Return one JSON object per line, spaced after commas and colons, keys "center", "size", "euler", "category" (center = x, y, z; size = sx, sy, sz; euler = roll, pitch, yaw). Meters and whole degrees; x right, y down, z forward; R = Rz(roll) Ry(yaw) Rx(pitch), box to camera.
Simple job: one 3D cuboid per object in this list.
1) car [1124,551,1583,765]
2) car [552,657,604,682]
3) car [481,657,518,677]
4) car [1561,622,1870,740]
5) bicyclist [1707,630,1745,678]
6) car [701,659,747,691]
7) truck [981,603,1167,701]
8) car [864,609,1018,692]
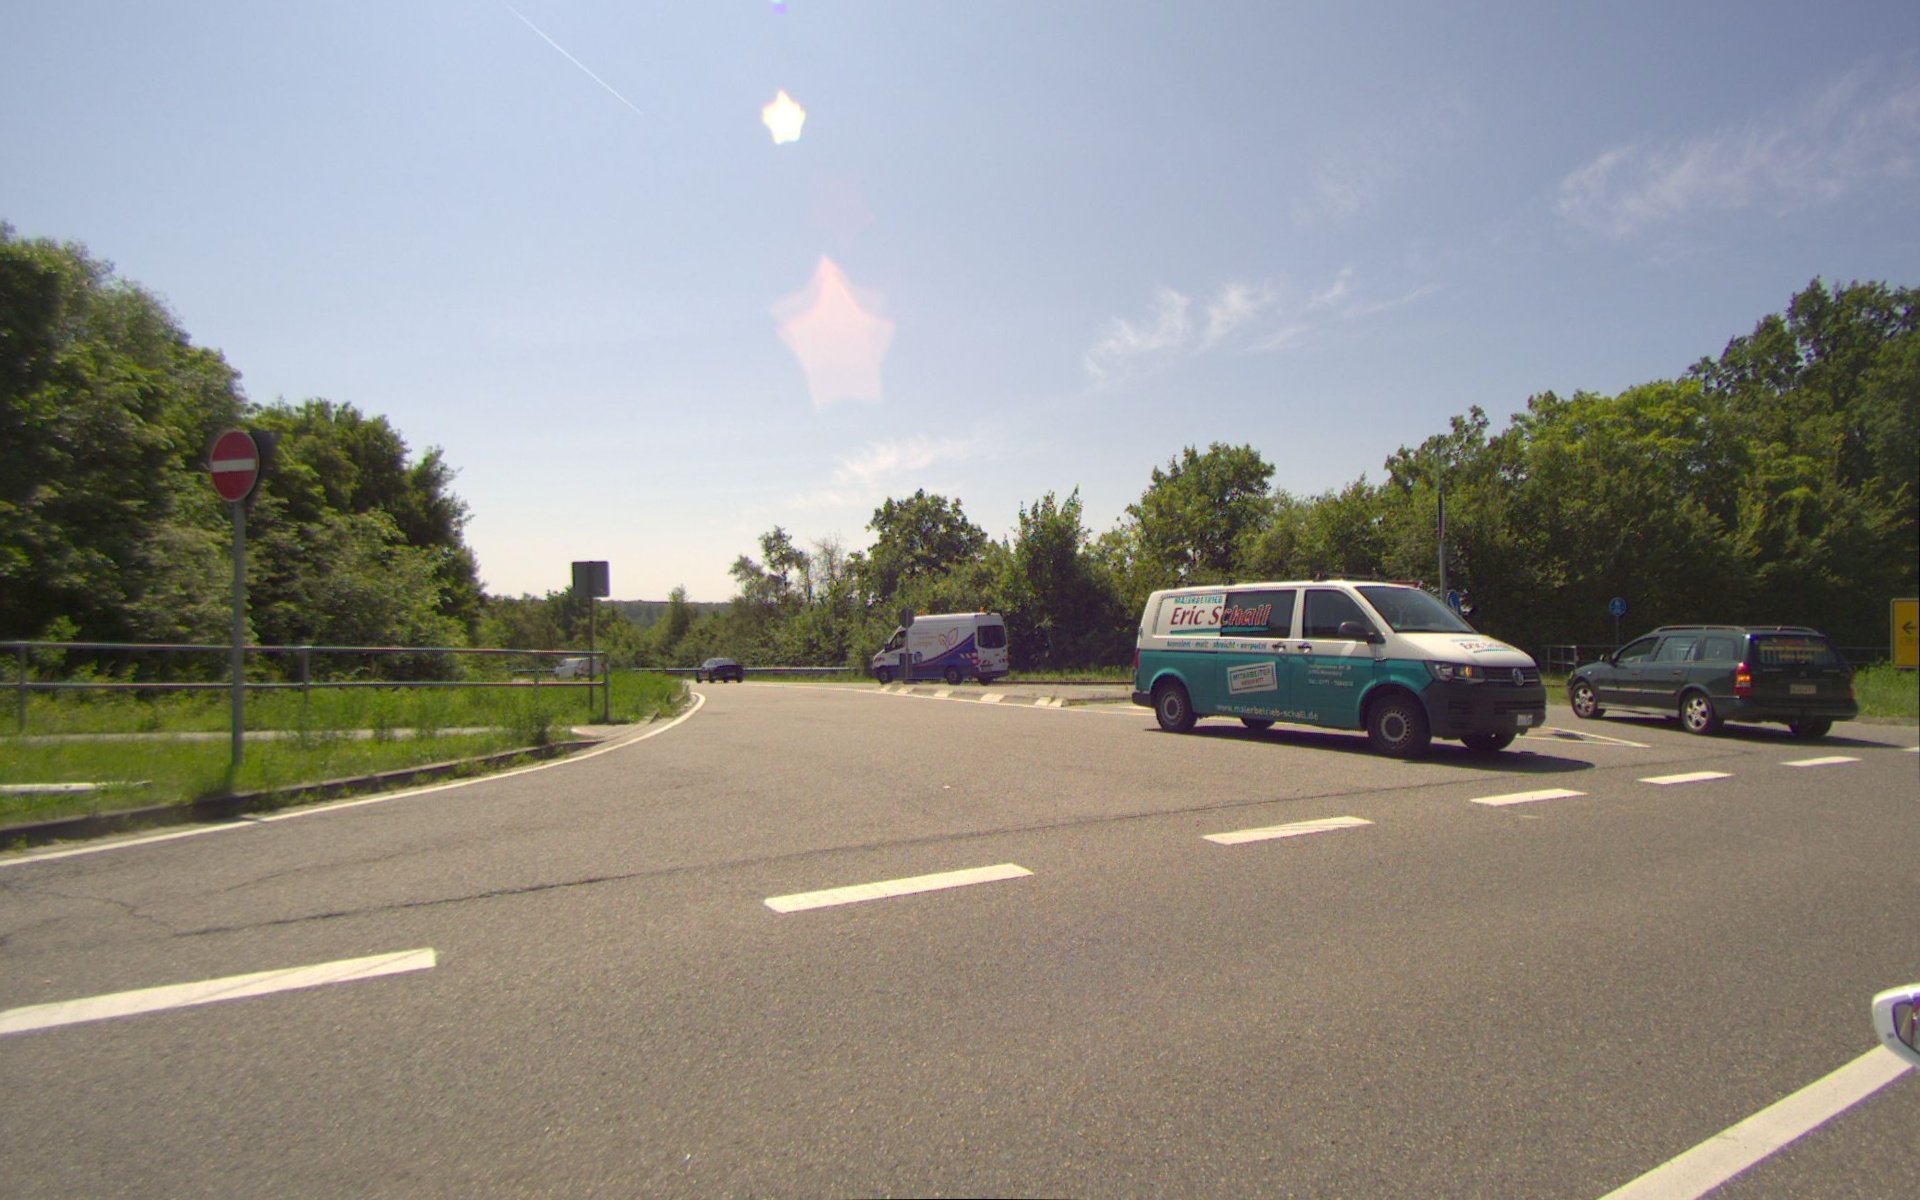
{"center": [4.464, 0.669, 12.398], "size": [1.977, 2.054, 5.146], "euler": [1, -3, -31], "category": "car"}
{"center": [-32.325, 5.873, 84.990], "size": [5.121, 1.948, 2.006], "euler": [-4, -3, 42], "category": "car"}
{"center": [-42.142, 6.077, 91.844], "size": [3.873, 1.617, 1.760], "euler": [0, -1, 43], "category": "car"}
{"center": [10.812, 1.107, 14.769], "size": [1.692, 1.476, 3.798], "euler": [1, -2, 0], "category": "car"}
{"center": [22.750, 1.598, 29.852], "size": [0.676, 1.381, 0.609], "euler": [1, -1, 7], "category": "bicyclist"}
{"center": [-13.442, 4.252, 57.102], "size": [1.656, 1.683, 3.974], "euler": [1, -4, -27], "category": "car"}
{"center": [3.207, 1.564, 30.224], "size": [2.120, 2.598, 6.589], "euler": [2, -3, -29], "category": "truck"}
{"center": [-0.823, 1.913, 37.869], "size": [5.924, 2.887, 2.102], "euler": [-3, -3, 41], "category": "car"}
